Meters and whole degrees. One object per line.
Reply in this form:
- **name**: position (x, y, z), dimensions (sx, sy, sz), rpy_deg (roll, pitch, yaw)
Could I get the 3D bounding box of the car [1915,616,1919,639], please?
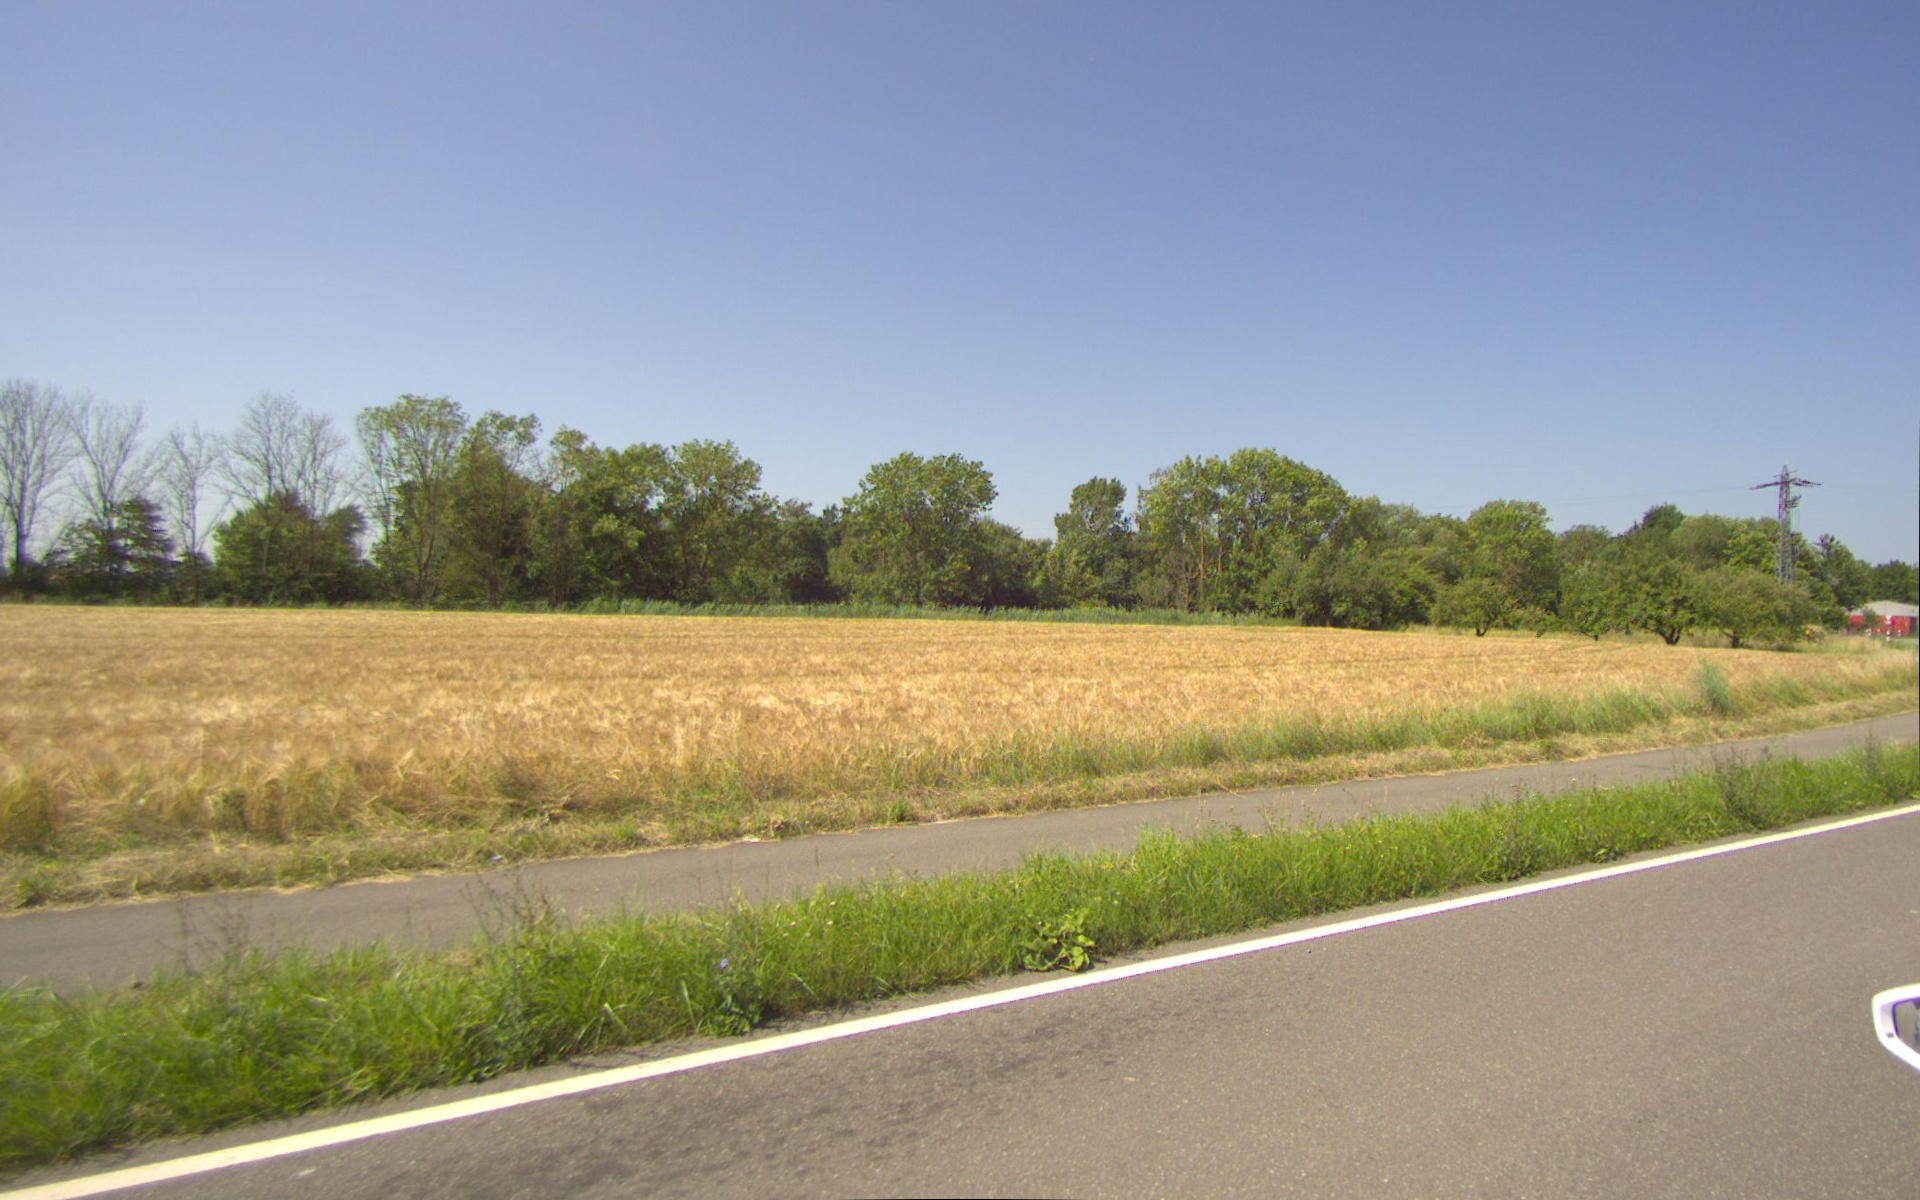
- **car**: position (96.757, 2.794, 99.992), dimensions (1.969, 2.296, 4.706), rpy_deg (1, 0, 38)
